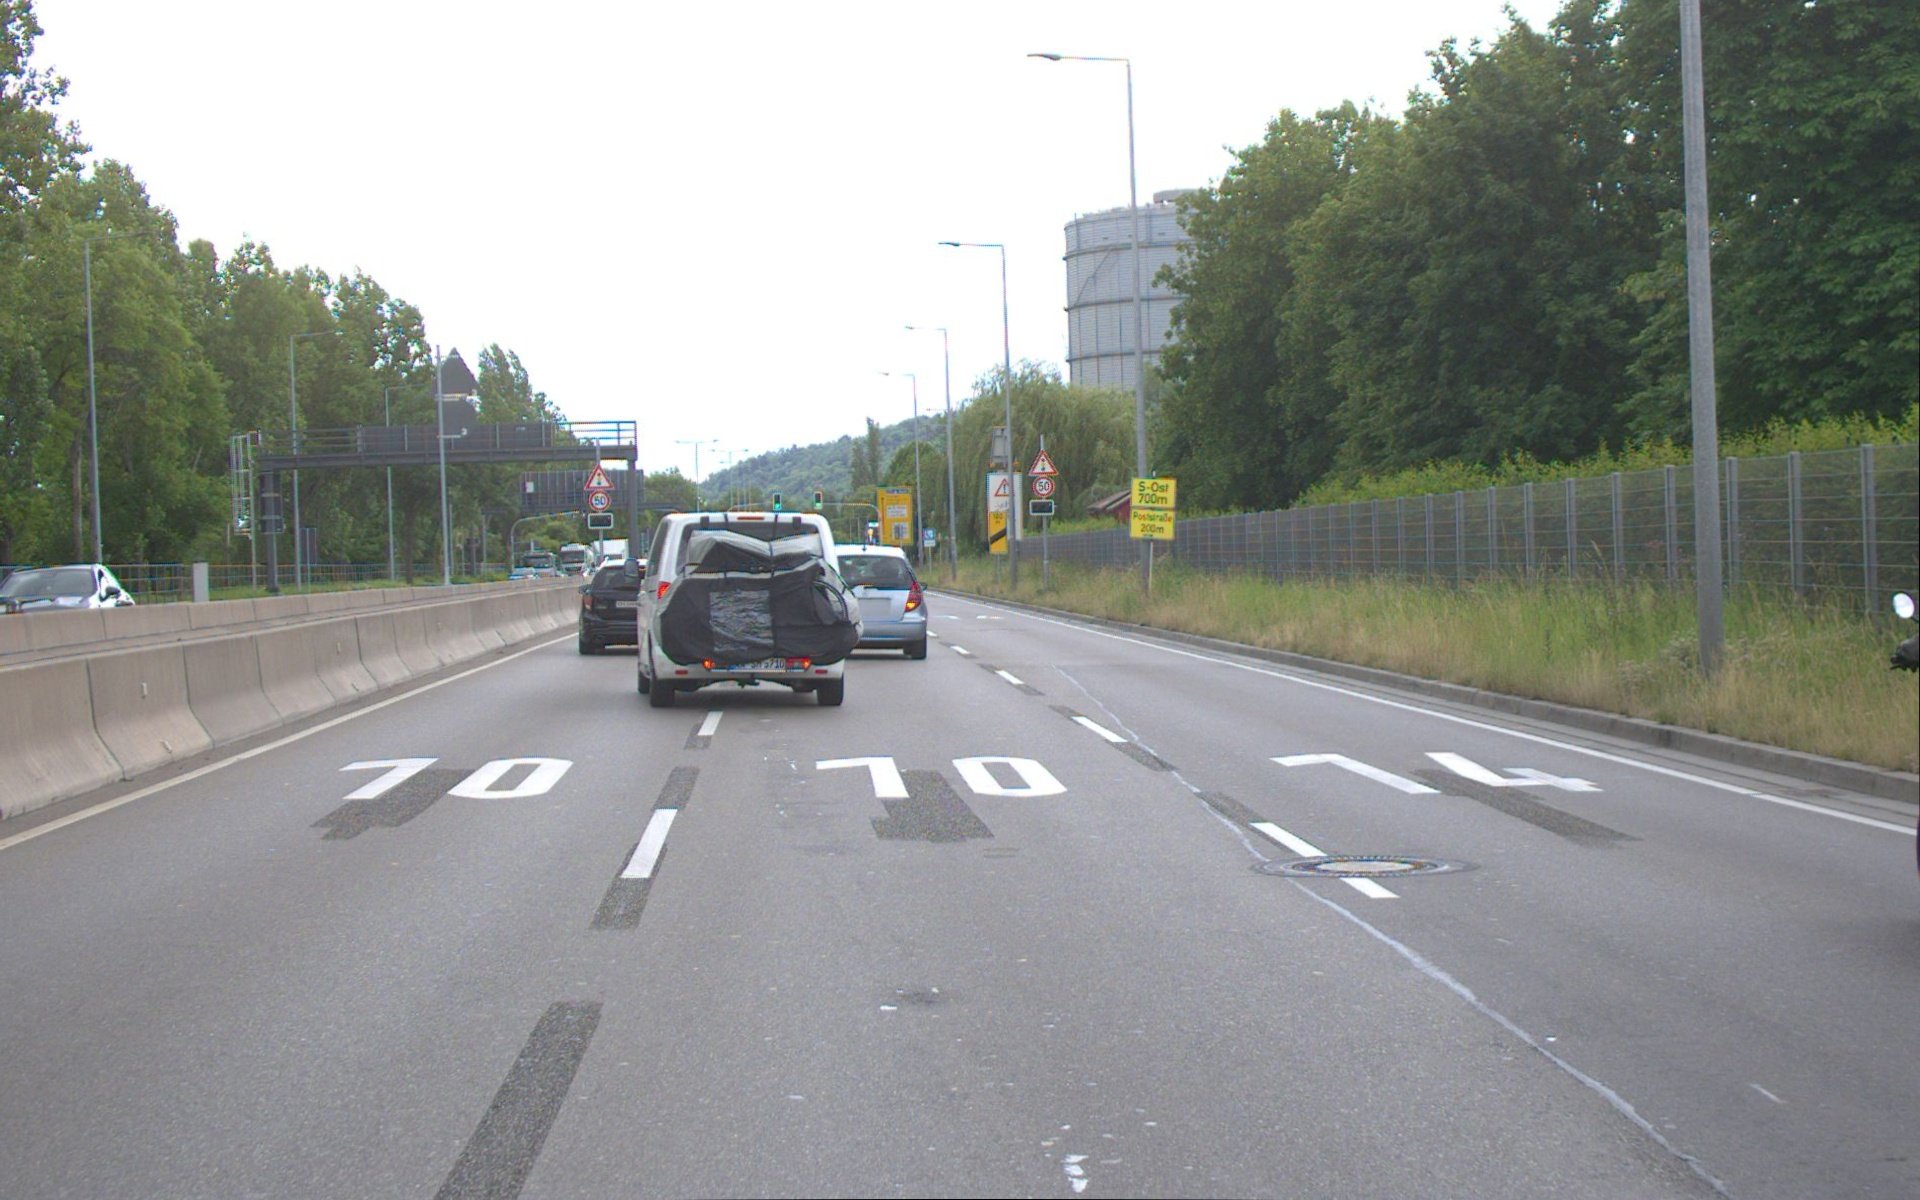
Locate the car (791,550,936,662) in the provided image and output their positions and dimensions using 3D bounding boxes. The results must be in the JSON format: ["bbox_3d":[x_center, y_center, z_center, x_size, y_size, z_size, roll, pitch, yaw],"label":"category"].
[{"bbox_3d":[-1.320,0.048,48.138,1.920,1.483,4.065,-1,1,-1],"label":"car"}]

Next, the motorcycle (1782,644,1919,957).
[{"bbox_3d":[3.798,0.733,12.557,0.743,1.080,2.665,-1,1,-4],"label":"motorcycle"}]

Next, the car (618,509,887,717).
[{"bbox_3d":[-2.148,0.065,33.885,1.992,1.852,5.643,1,1,-10],"label":"car"}]

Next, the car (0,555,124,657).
[{"bbox_3d":[-13.042,0.063,48.900,1.732,1.369,3.617,-1,1,-6],"label":"car"}]

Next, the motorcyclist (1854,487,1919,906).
[{"bbox_3d":[3.810,0.330,12.324,0.912,1.472,0.967,-1,1,-3],"label":"motorcyclist"}]

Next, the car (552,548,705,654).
[{"bbox_3d":[-4.874,-0.020,51.011,1.815,1.429,4.065,-2,1,0],"label":"car"}]
